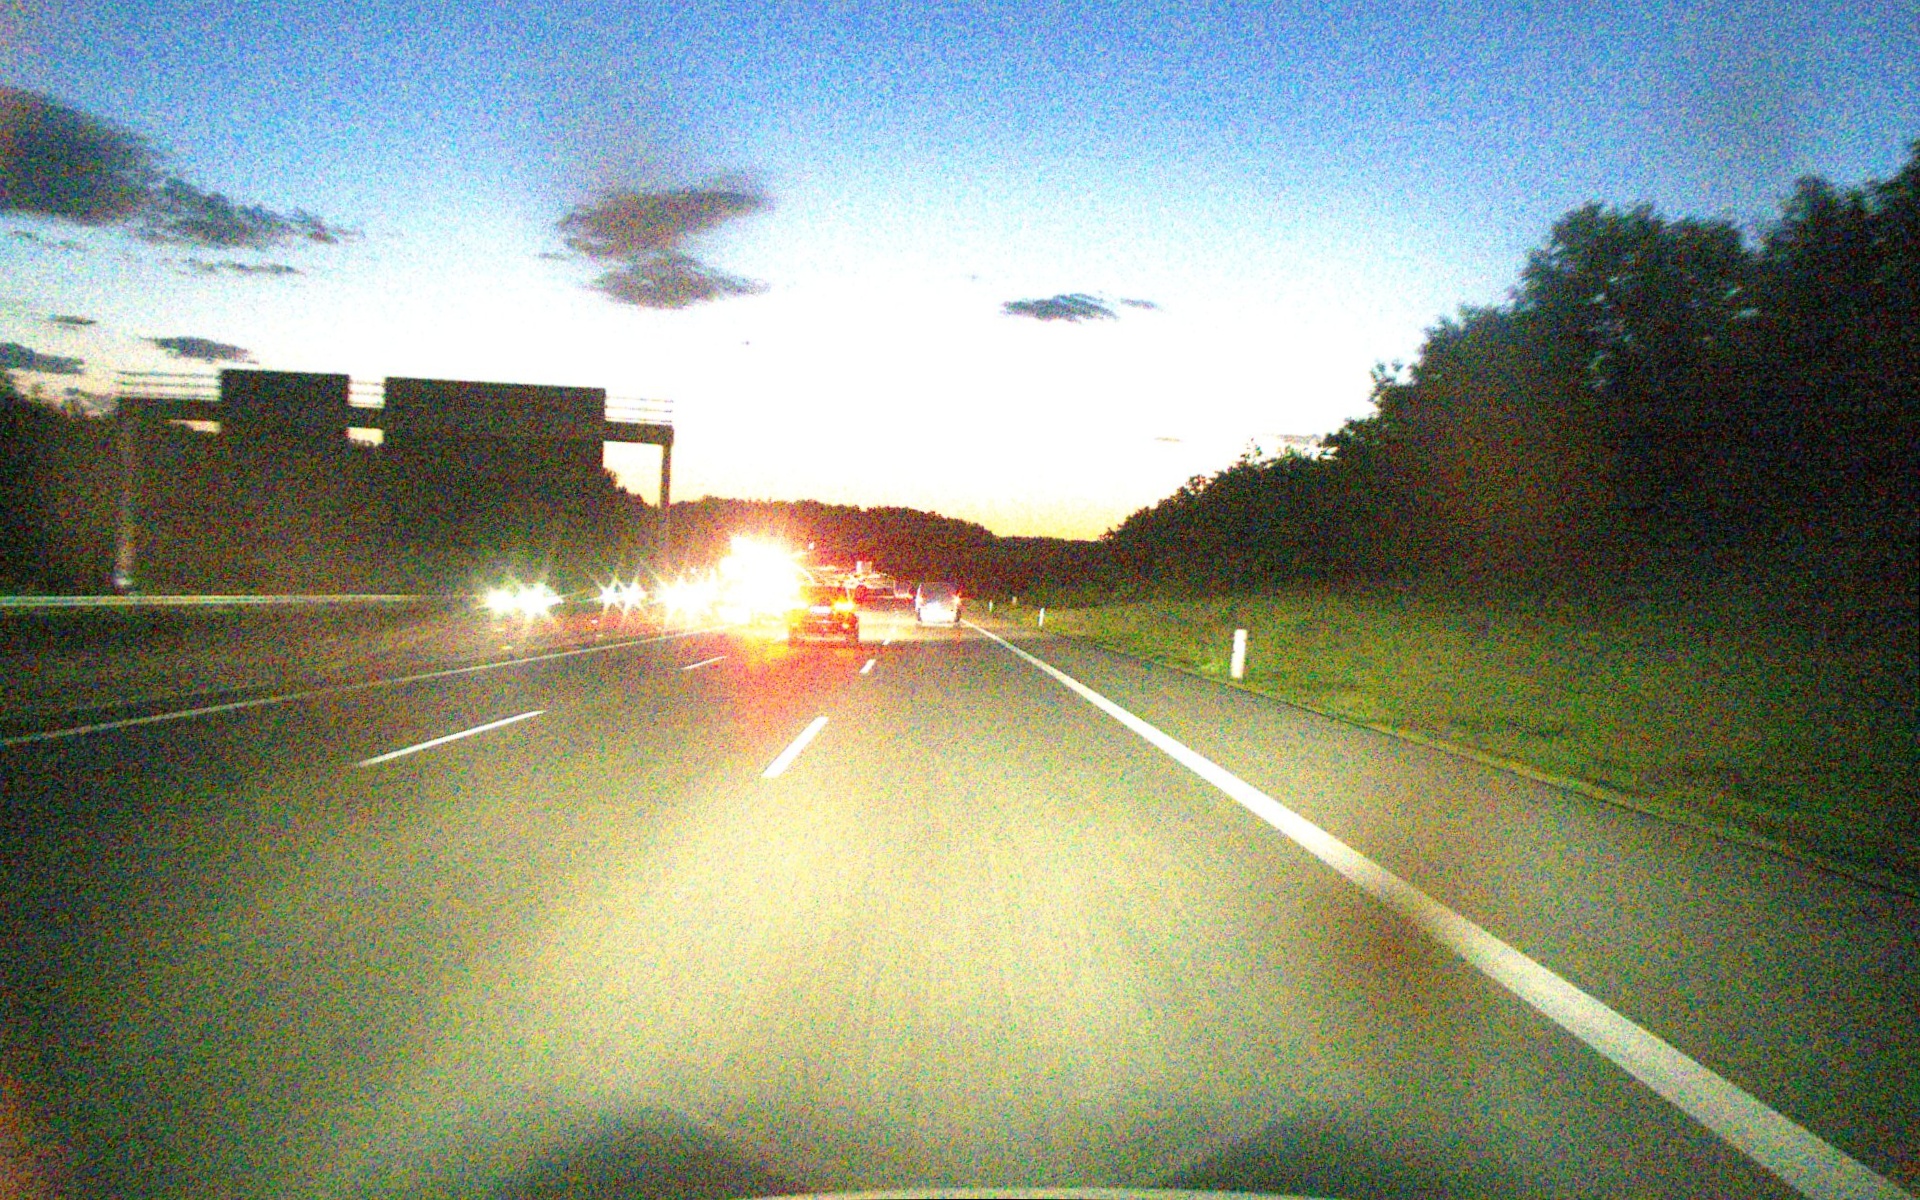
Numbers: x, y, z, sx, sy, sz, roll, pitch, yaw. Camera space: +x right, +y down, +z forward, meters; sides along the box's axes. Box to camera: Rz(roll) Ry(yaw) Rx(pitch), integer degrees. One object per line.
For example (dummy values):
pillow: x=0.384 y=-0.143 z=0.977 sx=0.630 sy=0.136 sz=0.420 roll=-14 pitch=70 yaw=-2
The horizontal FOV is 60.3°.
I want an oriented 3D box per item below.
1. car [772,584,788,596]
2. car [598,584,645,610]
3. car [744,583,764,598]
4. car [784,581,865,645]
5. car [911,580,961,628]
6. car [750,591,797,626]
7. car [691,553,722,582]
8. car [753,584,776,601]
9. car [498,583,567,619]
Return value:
car: x=-26.733 y=-1.463 z=245.426 sx=1.953 sy=1.764 sz=4.657 roll=1 pitch=0 yaw=-2
car: x=-20.959 y=-0.190 z=102.545 sx=1.953 sy=1.535 sz=5.184 roll=1 pitch=0 yaw=-1
car: x=-26.870 y=-1.215 z=215.757 sx=2.102 sy=1.918 sz=5.422 roll=1 pitch=0 yaw=-2
car: x=-3.866 y=0.347 z=48.166 sx=1.953 sy=1.751 sz=5.941 roll=0 pitch=0 yaw=-1
car: x=-1.086 y=0.128 z=73.168 sx=2.152 sy=1.989 sz=4.762 roll=0 pitch=1 yaw=-2
car: x=-8.199 y=0.350 z=73.223 sx=1.518 sy=1.456 sz=5.513 roll=1 pitch=0 yaw=-1
car: x=-27.965 y=-3.556 z=182.806 sx=2.408 sy=2.987 sz=8.329 roll=1 pitch=0 yaw=-2
car: x=-20.896 y=-0.764 z=177.128 sx=1.953 sy=1.764 sz=4.658 roll=1 pitch=0 yaw=-1
car: x=-19.389 y=0.027 z=75.305 sx=1.953 sy=1.535 sz=5.200 roll=1 pitch=0 yaw=-2
